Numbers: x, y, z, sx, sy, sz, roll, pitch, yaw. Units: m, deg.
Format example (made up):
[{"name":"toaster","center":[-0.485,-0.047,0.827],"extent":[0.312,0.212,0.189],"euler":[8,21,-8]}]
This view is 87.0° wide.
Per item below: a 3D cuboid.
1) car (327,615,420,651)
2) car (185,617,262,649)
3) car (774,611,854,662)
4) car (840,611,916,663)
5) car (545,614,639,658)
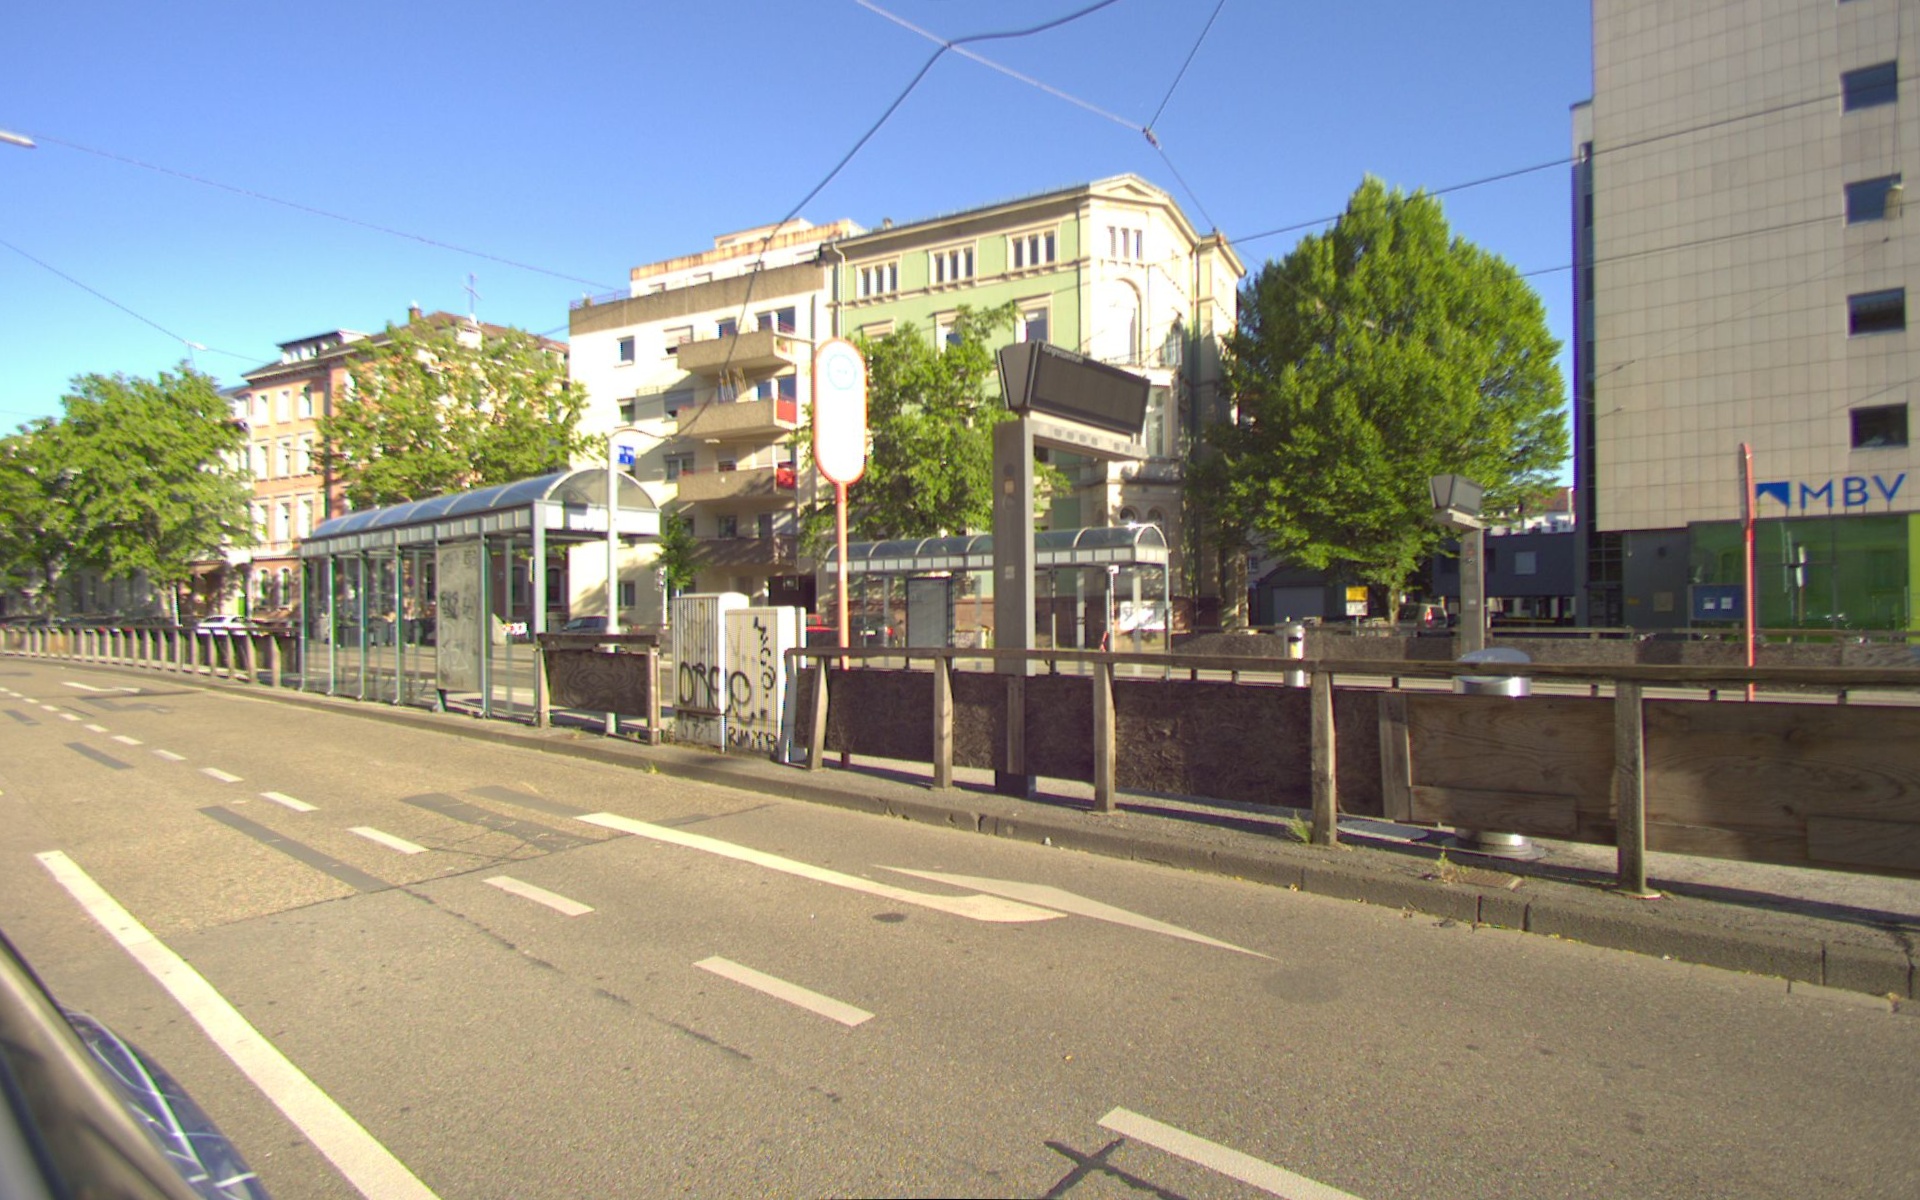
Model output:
[{"name":"car","center":[-28.403,1.562,49.058],"extent":[1.626,1.579,3.560],"euler":[-1,0,33]},{"name":"car","center":[-39.403,1.743,54.215],"extent":[1.607,1.579,3.601],"euler":[-1,0,-2]},{"name":"car","center":[-4.925,1.216,34.569],"extent":[1.614,1.579,3.588],"euler":[-1,0,11]},{"name":"car","center":[-2.652,1.186,33.373],"extent":[1.614,1.579,3.588],"euler":[-1,0,11]},{"name":"car","center":[-14.037,1.335,38.521],"extent":[3.592,1.579,1.612],"euler":[-1,0,35]}]
